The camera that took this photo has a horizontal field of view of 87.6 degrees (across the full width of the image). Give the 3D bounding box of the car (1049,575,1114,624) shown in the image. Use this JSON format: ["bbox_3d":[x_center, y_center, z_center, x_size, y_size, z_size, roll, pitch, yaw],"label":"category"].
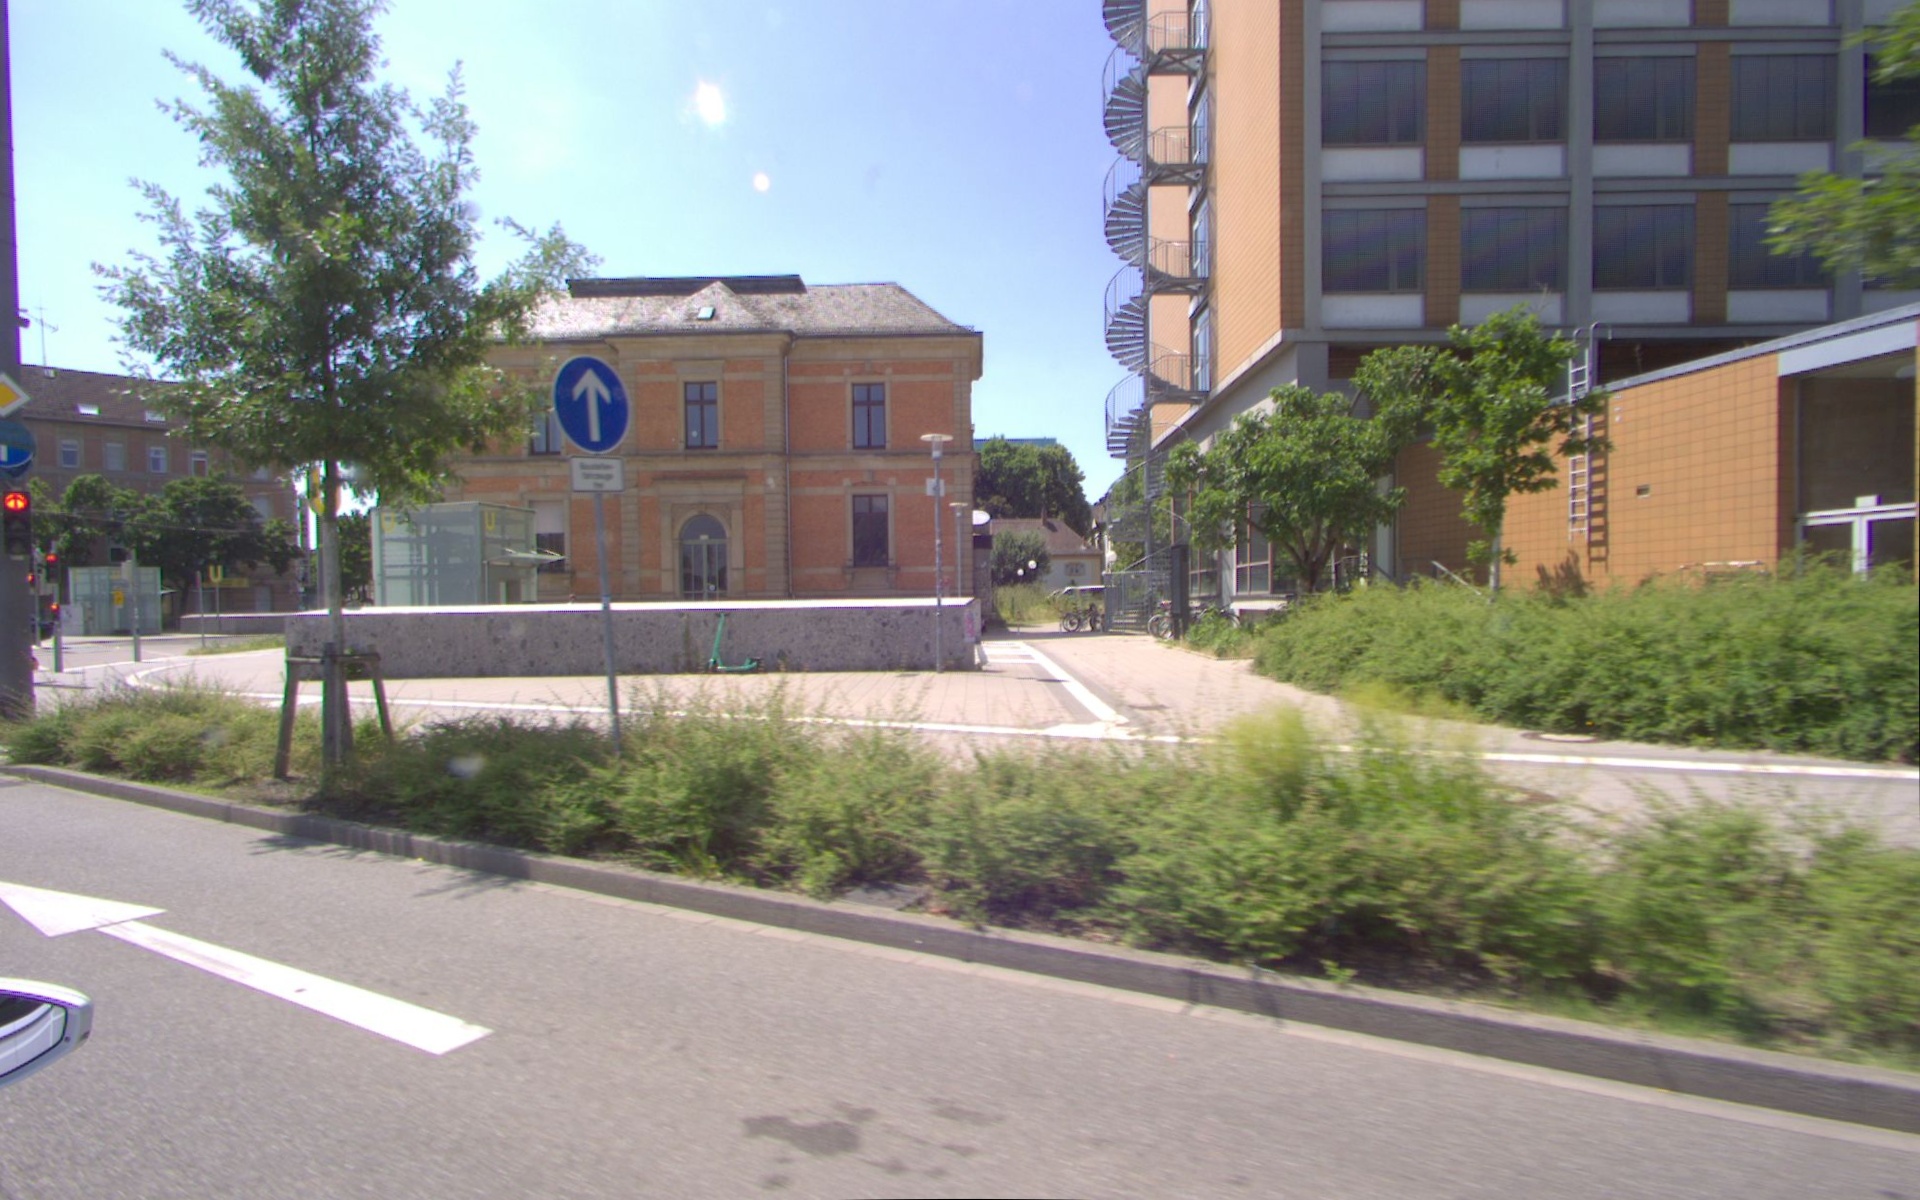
[{"bbox_3d":[7.038,-0.029,58.278,3.658,2.680,1.166,2,1,7],"label":"car"}]

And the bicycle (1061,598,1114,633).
[{"bbox_3d":[5.034,0.602,39.650,2.036,1.320,0.767,2,1,4],"label":"bicycle"}]

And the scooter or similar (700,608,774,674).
[{"bbox_3d":[-4.158,0.750,18.687,1.265,1.183,0.397,2,1,9],"label":"scooter or similar"}]

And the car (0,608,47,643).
[{"bbox_3d":[-42.511,1.094,43.412,1.665,1.470,4.111,2,0,12],"label":"car"}]

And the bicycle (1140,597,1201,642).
[{"bbox_3d":[6.623,0.599,31.517,1.780,1.347,0.497,2,1,2],"label":"bicycle"}]

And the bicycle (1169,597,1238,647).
[{"bbox_3d":[6.797,0.619,28.035,1.780,1.347,0.497,2,1,2],"label":"bicycle"}]

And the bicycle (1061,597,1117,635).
[{"bbox_3d":[4.950,0.613,38.548,2.068,1.379,0.767,2,1,4],"label":"bicycle"}]

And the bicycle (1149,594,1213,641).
[{"bbox_3d":[6.598,0.528,29.940,1.780,1.347,0.497,2,1,2],"label":"bicycle"}]

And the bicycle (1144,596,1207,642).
[{"bbox_3d":[6.575,0.566,30.602,1.780,1.347,0.497,2,1,2],"label":"bicycle"}]
